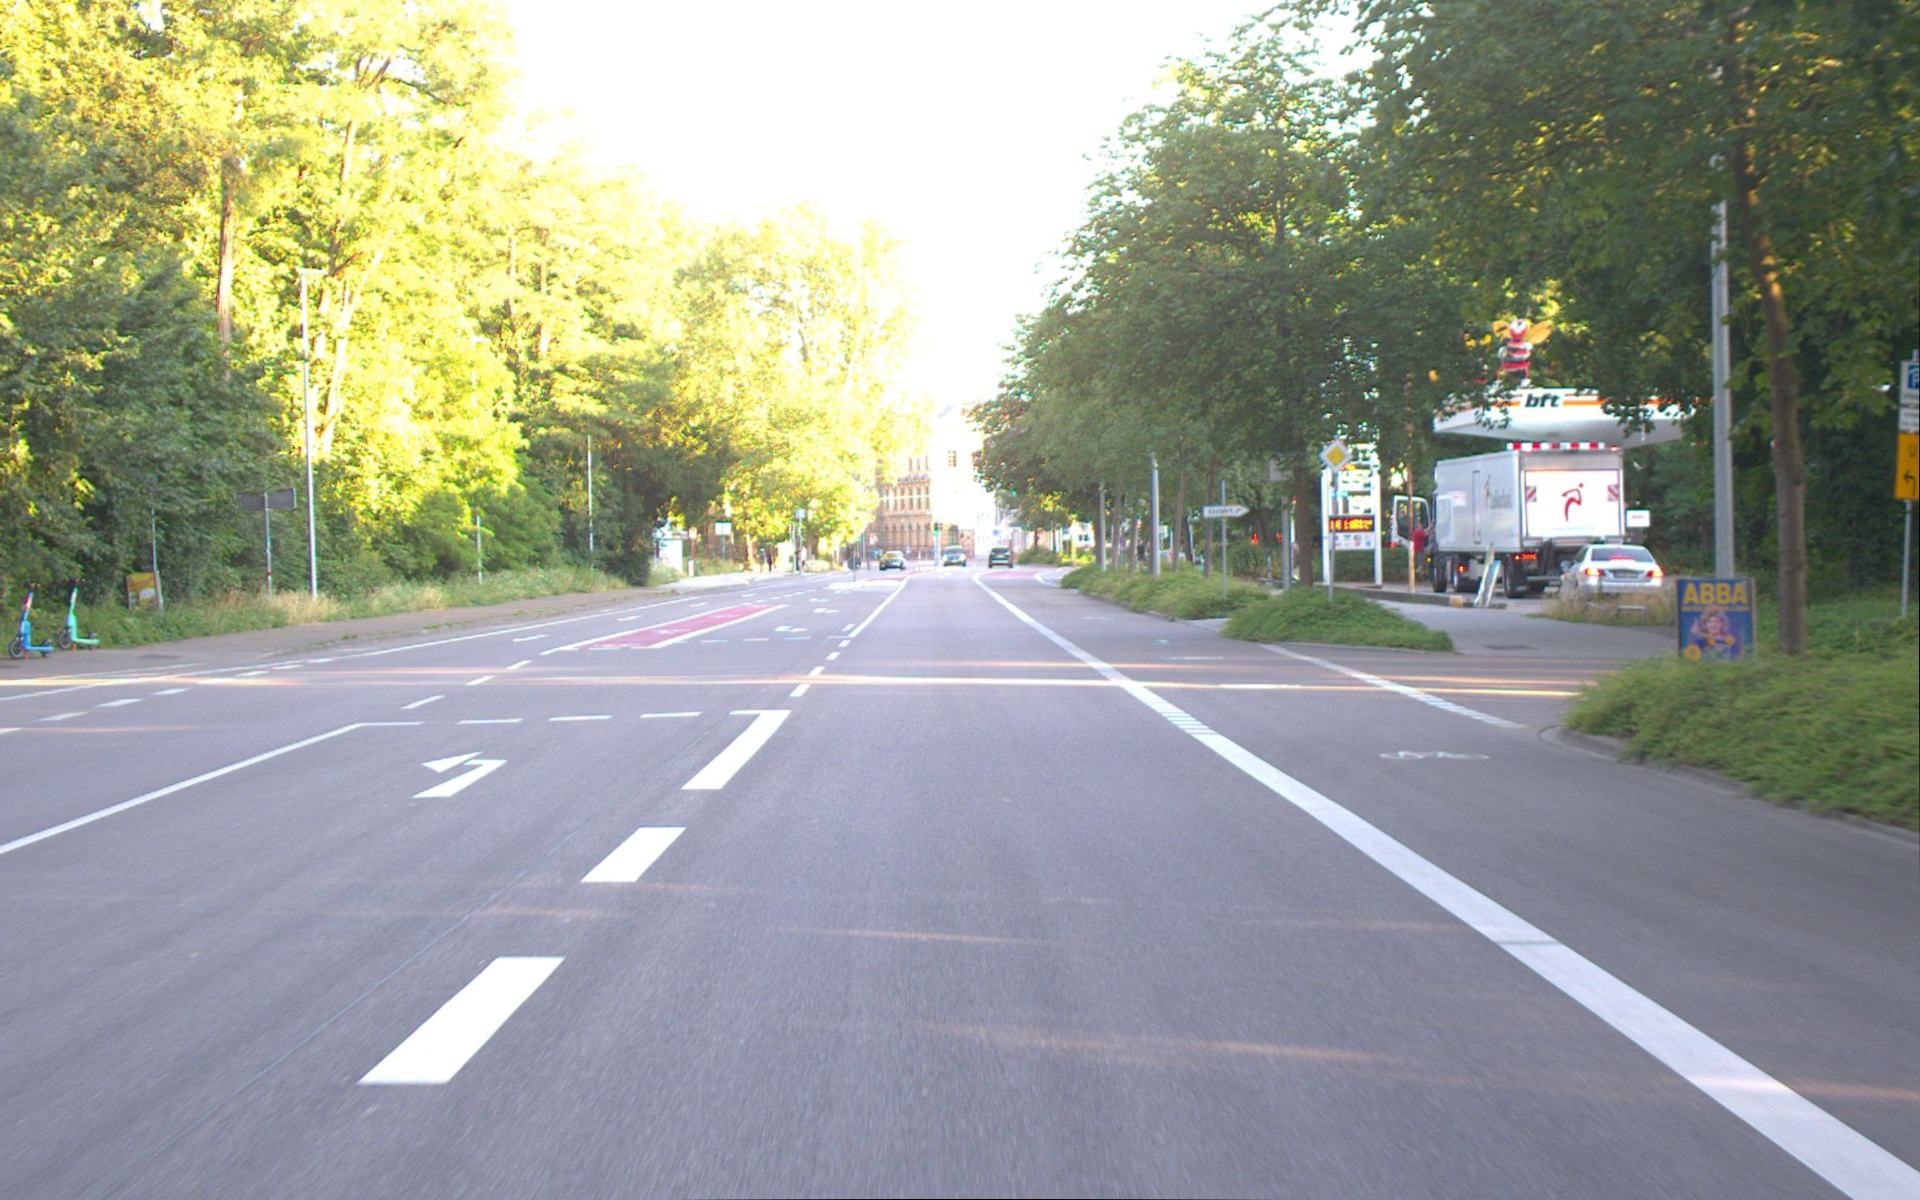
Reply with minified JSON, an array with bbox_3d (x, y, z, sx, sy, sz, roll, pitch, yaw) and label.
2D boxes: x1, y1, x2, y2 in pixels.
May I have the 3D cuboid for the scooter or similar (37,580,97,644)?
[{"bbox_3d":[-15.117,0.198,58.201,0.897,1.065,0.496,-1,1,-25],"label":"scooter or similar"}]

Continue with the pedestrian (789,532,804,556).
[{"bbox_3d":[-10.803,-3.685,227.053,0.791,1.575,0.745,1,1,9],"label":"pedestrian"}]

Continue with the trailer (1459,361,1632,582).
[{"bbox_3d":[15.076,-3.265,89.138,3.020,5.443,7.935,-1,1,0],"label":"trailer"}]

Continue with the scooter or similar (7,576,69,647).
[{"bbox_3d":[-14.706,0.182,54.831,0.361,1.106,0.877,0,1,42],"label":"scooter or similar"}]

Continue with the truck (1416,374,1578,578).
[{"bbox_3d":[14.973,-3.424,96.471,3.033,5.437,8.411,-1,1,-1],"label":"truck"}]

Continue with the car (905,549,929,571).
[{"bbox_3d":[-2.844,-2.647,227.040,1.493,1.481,3.491,-1,1,1],"label":"car"}]

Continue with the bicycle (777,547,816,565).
[{"bbox_3d":[-10.786,-2.898,227.092,2.463,1.191,0.757,-1,1,10],"label":"bicycle"}]

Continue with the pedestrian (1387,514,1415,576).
[{"bbox_3d":[12.830,-1.595,99.988,0.757,1.791,0.706,1,1,3],"label":"pedestrian"}]

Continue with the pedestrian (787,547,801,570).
[{"bbox_3d":[-11.360,-2.862,235.084,0.791,1.575,0.745,1,1,9],"label":"pedestrian"}]

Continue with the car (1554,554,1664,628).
[{"bbox_3d":[14.415,-0.228,76.541,1.770,1.578,4.818,1,1,3],"label":"car"}]

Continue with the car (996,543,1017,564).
[{"bbox_3d":[3.418,-3.371,250.875,1.493,1.481,3.491,-1,1,1],"label":"car"}]

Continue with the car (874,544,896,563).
[{"bbox_3d":[-5.420,-3.358,248.164,1.493,1.287,3.491,-1,1,1],"label":"car"}]
